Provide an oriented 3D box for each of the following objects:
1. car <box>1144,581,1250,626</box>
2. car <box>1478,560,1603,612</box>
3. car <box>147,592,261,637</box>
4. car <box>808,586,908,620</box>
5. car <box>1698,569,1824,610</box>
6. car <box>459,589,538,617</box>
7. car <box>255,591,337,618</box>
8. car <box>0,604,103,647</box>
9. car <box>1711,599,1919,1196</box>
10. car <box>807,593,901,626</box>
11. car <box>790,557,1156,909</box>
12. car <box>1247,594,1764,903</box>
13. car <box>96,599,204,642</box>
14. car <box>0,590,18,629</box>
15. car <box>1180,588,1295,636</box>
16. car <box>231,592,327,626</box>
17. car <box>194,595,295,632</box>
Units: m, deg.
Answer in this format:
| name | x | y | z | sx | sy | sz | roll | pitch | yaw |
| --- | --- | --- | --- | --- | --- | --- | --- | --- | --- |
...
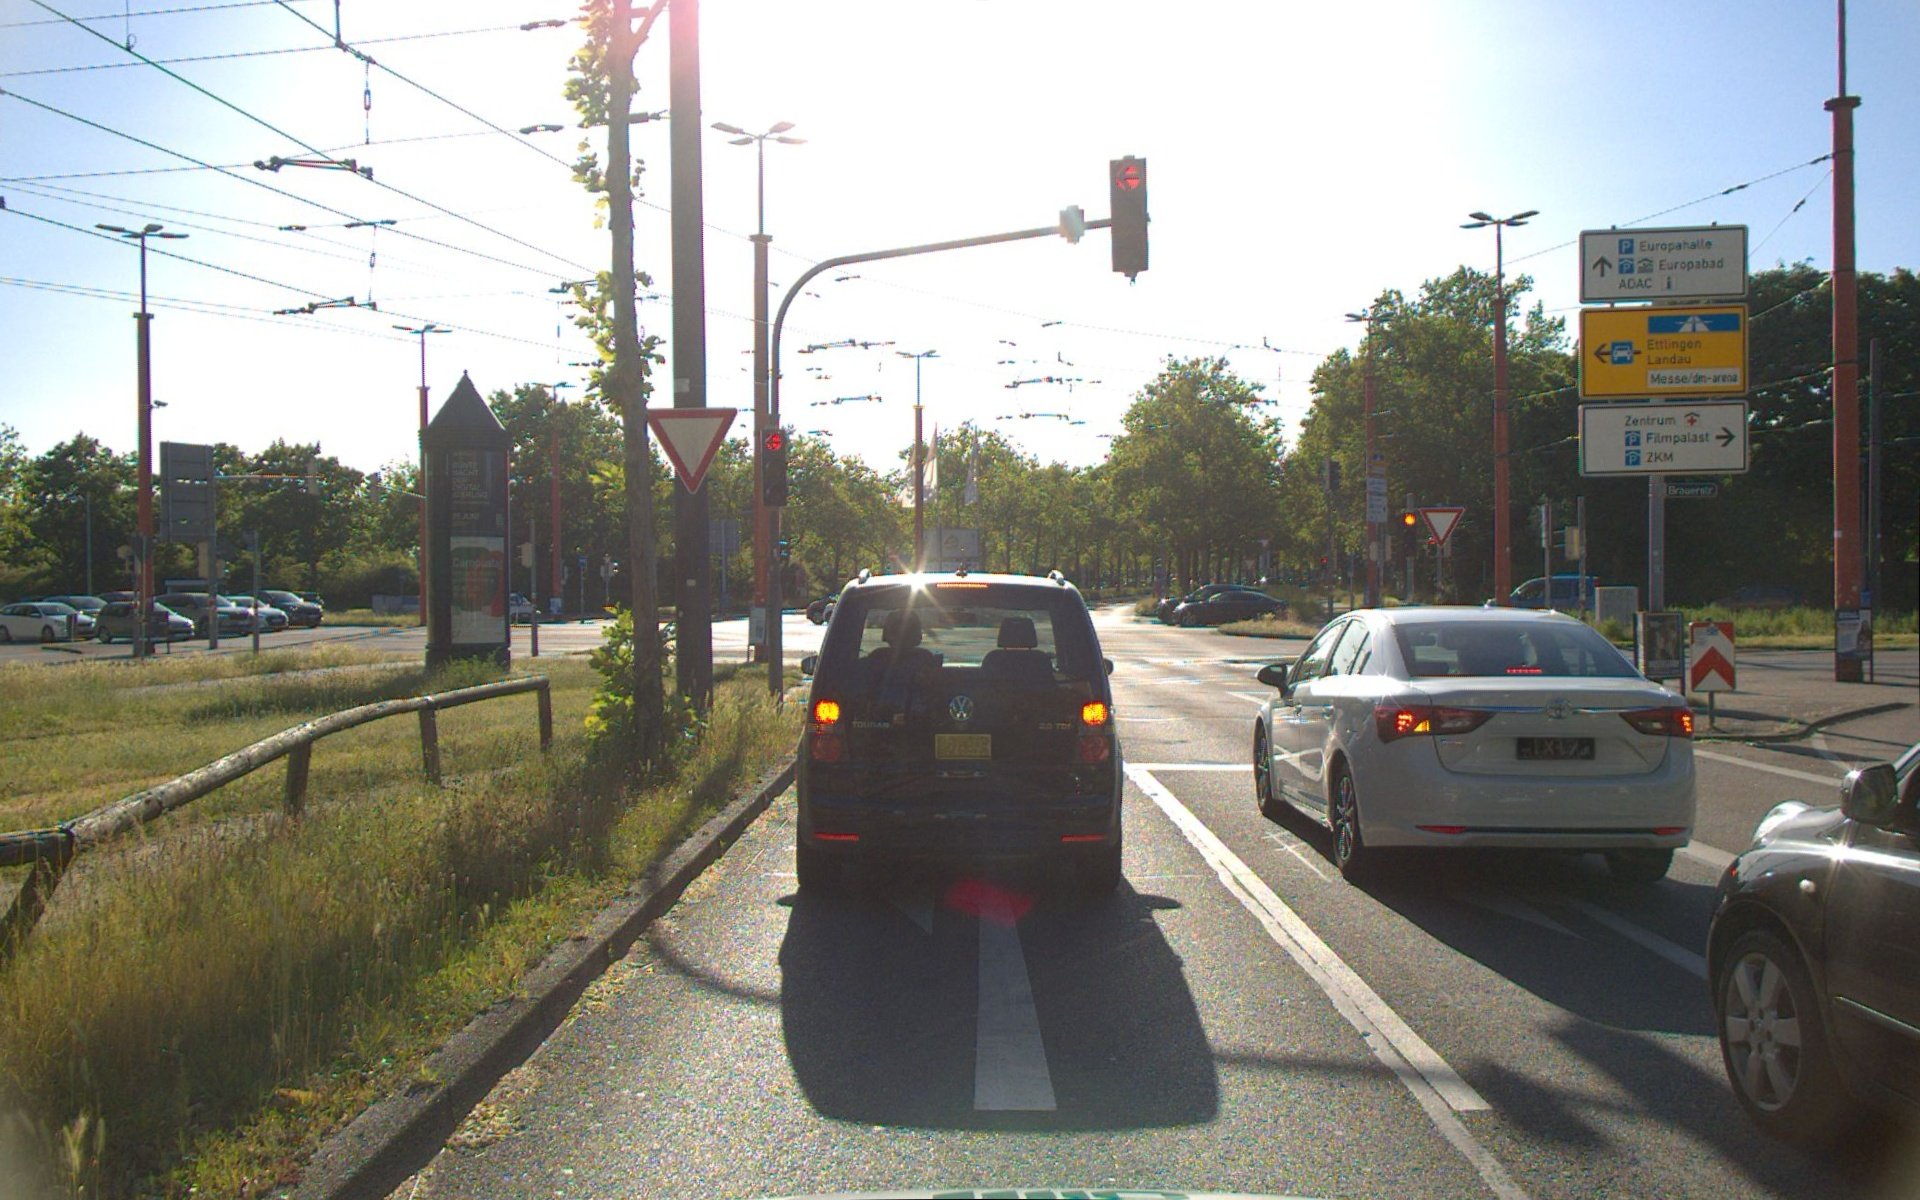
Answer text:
| name | x | y | z | sx | sy | sz | roll | pitch | yaw |
| --- | --- | --- | --- | --- | --- | --- | --- | --- | --- |
| car | 9.956 | 0.122 | 69.465 | 4.037 | 1.822 | 1.797 | 0 | 0 | 25 |
| car | 20.981 | -0.508 | 59.849 | 4.041 | 1.822 | 1.796 | 0 | 0 | 29 |
| car | -29.310 | 0.538 | 64.088 | 4.541 | 1.676 | 1.654 | 0 | 0 | 30 |
| car | -4.426 | 0.113 | 71.728 | 4.039 | 1.427 | 1.655 | 0 | 0 | 27 |
| car | 28.894 | -0.390 | 59.761 | 4.036 | 1.427 | 1.656 | 0 | 0 | 25 |
| car | -23.962 | 0.128 | 85.837 | 3.714 | 1.427 | 1.656 | 0 | 0 | 22 |
| car | -35.259 | 0.229 | 87.834 | 4.035 | 1.427 | 1.656 | 0 | 0 | 23 |
| car | -34.930 | 0.966 | 63.250 | 4.536 | 1.546 | 1.654 | 0 | 0 | 30 |
| car | 3.143 | 0.741 | 3.484 | 1.544 | 1.465 | 3.441 | 1 | 0 | 0 |
| car | -4.888 | 0.425 | 76.271 | 4.037 | 1.497 | 1.655 | 0 | 0 | 25 |
| car | 0.074 | 0.634 | 9.958 | 1.703 | 1.630 | 4.326 | 1 | 0 | 0 |
| car | 3.022 | 0.728 | 10.180 | 1.762 | 1.465 | 4.326 | 1 | 0 | 0 |
| car | -29.536 | 0.728 | 60.296 | 3.755 | 1.466 | 1.655 | 0 | 0 | 27 |
| car | -42.977 | 0.379 | 71.632 | 4.541 | 1.676 | 1.753 | 0 | 0 | 30 |
| car | 10.822 | 0.446 | 64.574 | 4.044 | 1.822 | 1.794 | 0 | 0 | 32 |
| car | -29.460 | 0.370 | 71.546 | 4.060 | 1.440 | 1.542 | 0 | 0 | 26 |
| car | -29.396 | 0.529 | 67.923 | 4.060 | 1.440 | 1.542 | 0 | 0 | 26 |
